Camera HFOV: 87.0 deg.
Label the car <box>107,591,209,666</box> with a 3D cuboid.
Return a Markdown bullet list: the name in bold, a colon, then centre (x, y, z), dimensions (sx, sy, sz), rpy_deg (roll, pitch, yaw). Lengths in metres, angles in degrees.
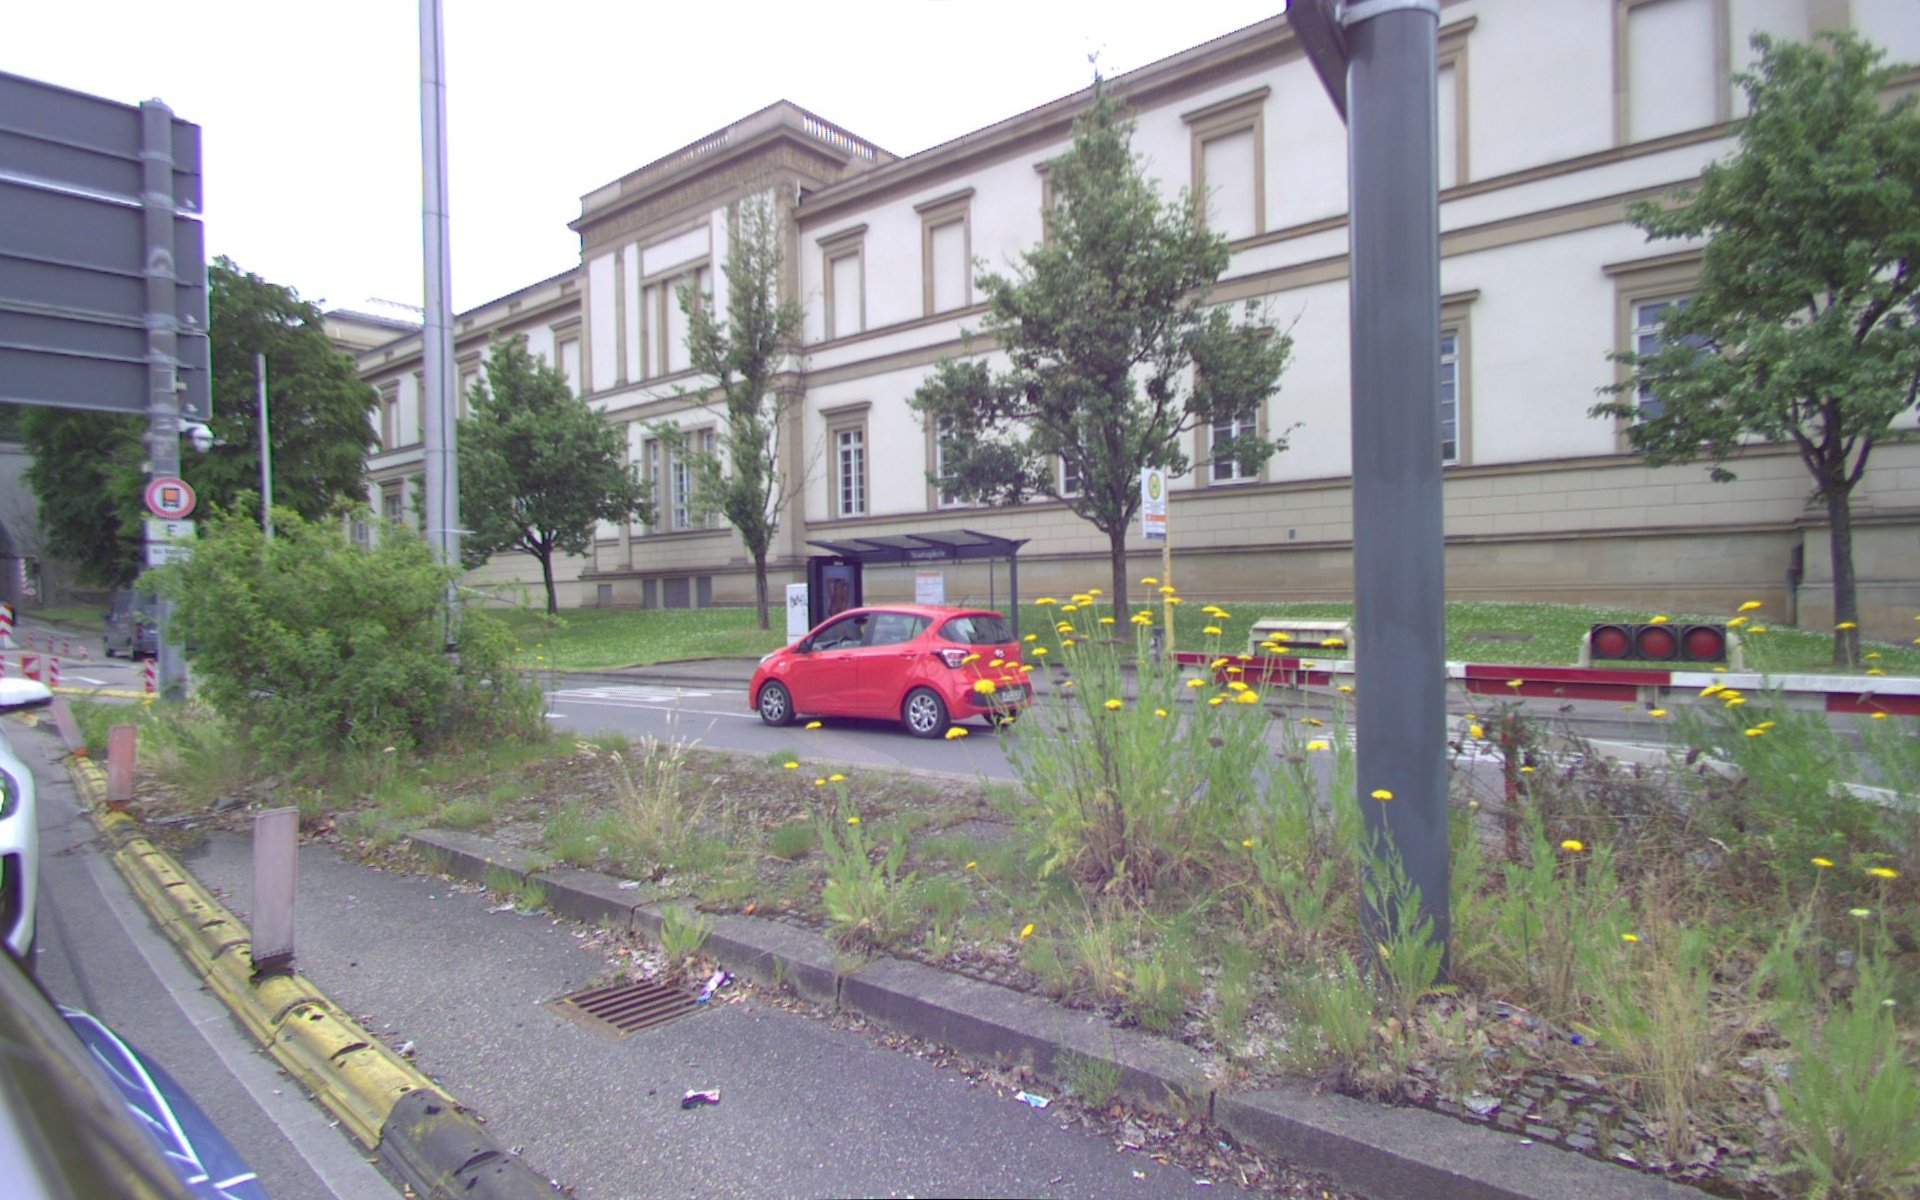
- **car**: centre (-28.941, 0.979, 36.464), dimensions (4.758, 2.527, 2.174), rpy_deg (-1, 0, 43)

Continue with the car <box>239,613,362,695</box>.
- **car**: centre (-14.654, 1.115, 22.412), dimensions (1.752, 1.630, 3.809), rpy_deg (-1, 0, -41)

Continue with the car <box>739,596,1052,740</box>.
- **car**: centre (-0.847, 0.741, 12.227), dimensions (3.568, 1.489, 1.627), rpy_deg (-1, -1, 37)

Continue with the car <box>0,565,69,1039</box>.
- **car**: centre (-5.220, 0.723, 4.100), dimensions (3.669, 1.637, 1.962), rpy_deg (-1, 0, 41)

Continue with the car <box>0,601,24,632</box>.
- **car**: centre (-56.767, 0.969, 59.798), dimensions (4.001, 1.736, 1.920), rpy_deg (-1, 0, 44)
